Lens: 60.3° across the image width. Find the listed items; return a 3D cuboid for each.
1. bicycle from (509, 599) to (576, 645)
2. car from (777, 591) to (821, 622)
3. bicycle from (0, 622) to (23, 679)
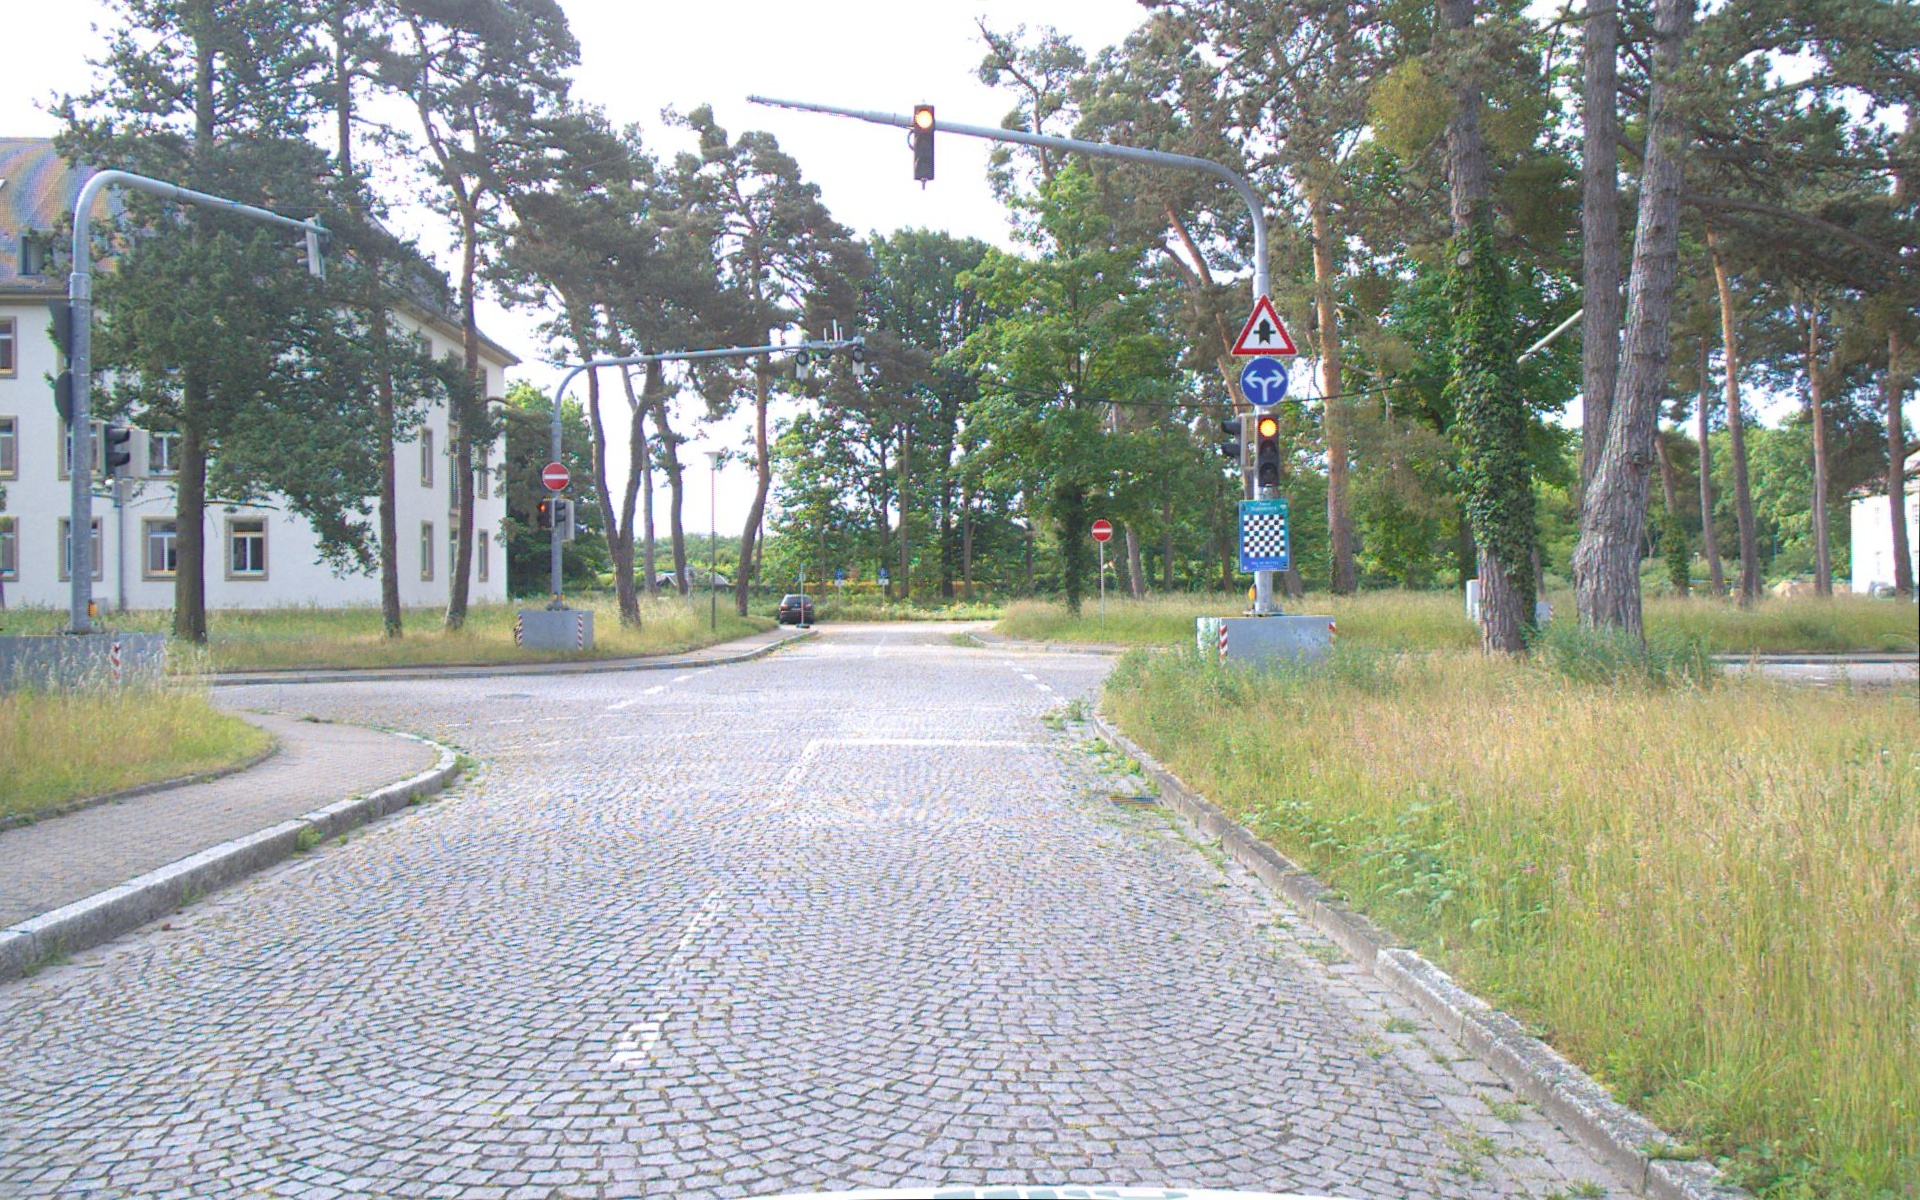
[{"bbox_3d":[-9.498,0.500,37.629,1.432,1.013,0.451,-1,0,-9],"label":"bicycle"},{"bbox_3d":[-8.485,0.330,87.559,1.953,1.534,3.999,1,0,-1],"label":"car"},{"bbox_3d":[-17.775,0.924,29.865,1.429,1.013,0.452,-1,0,-1],"label":"bicycle"}]
